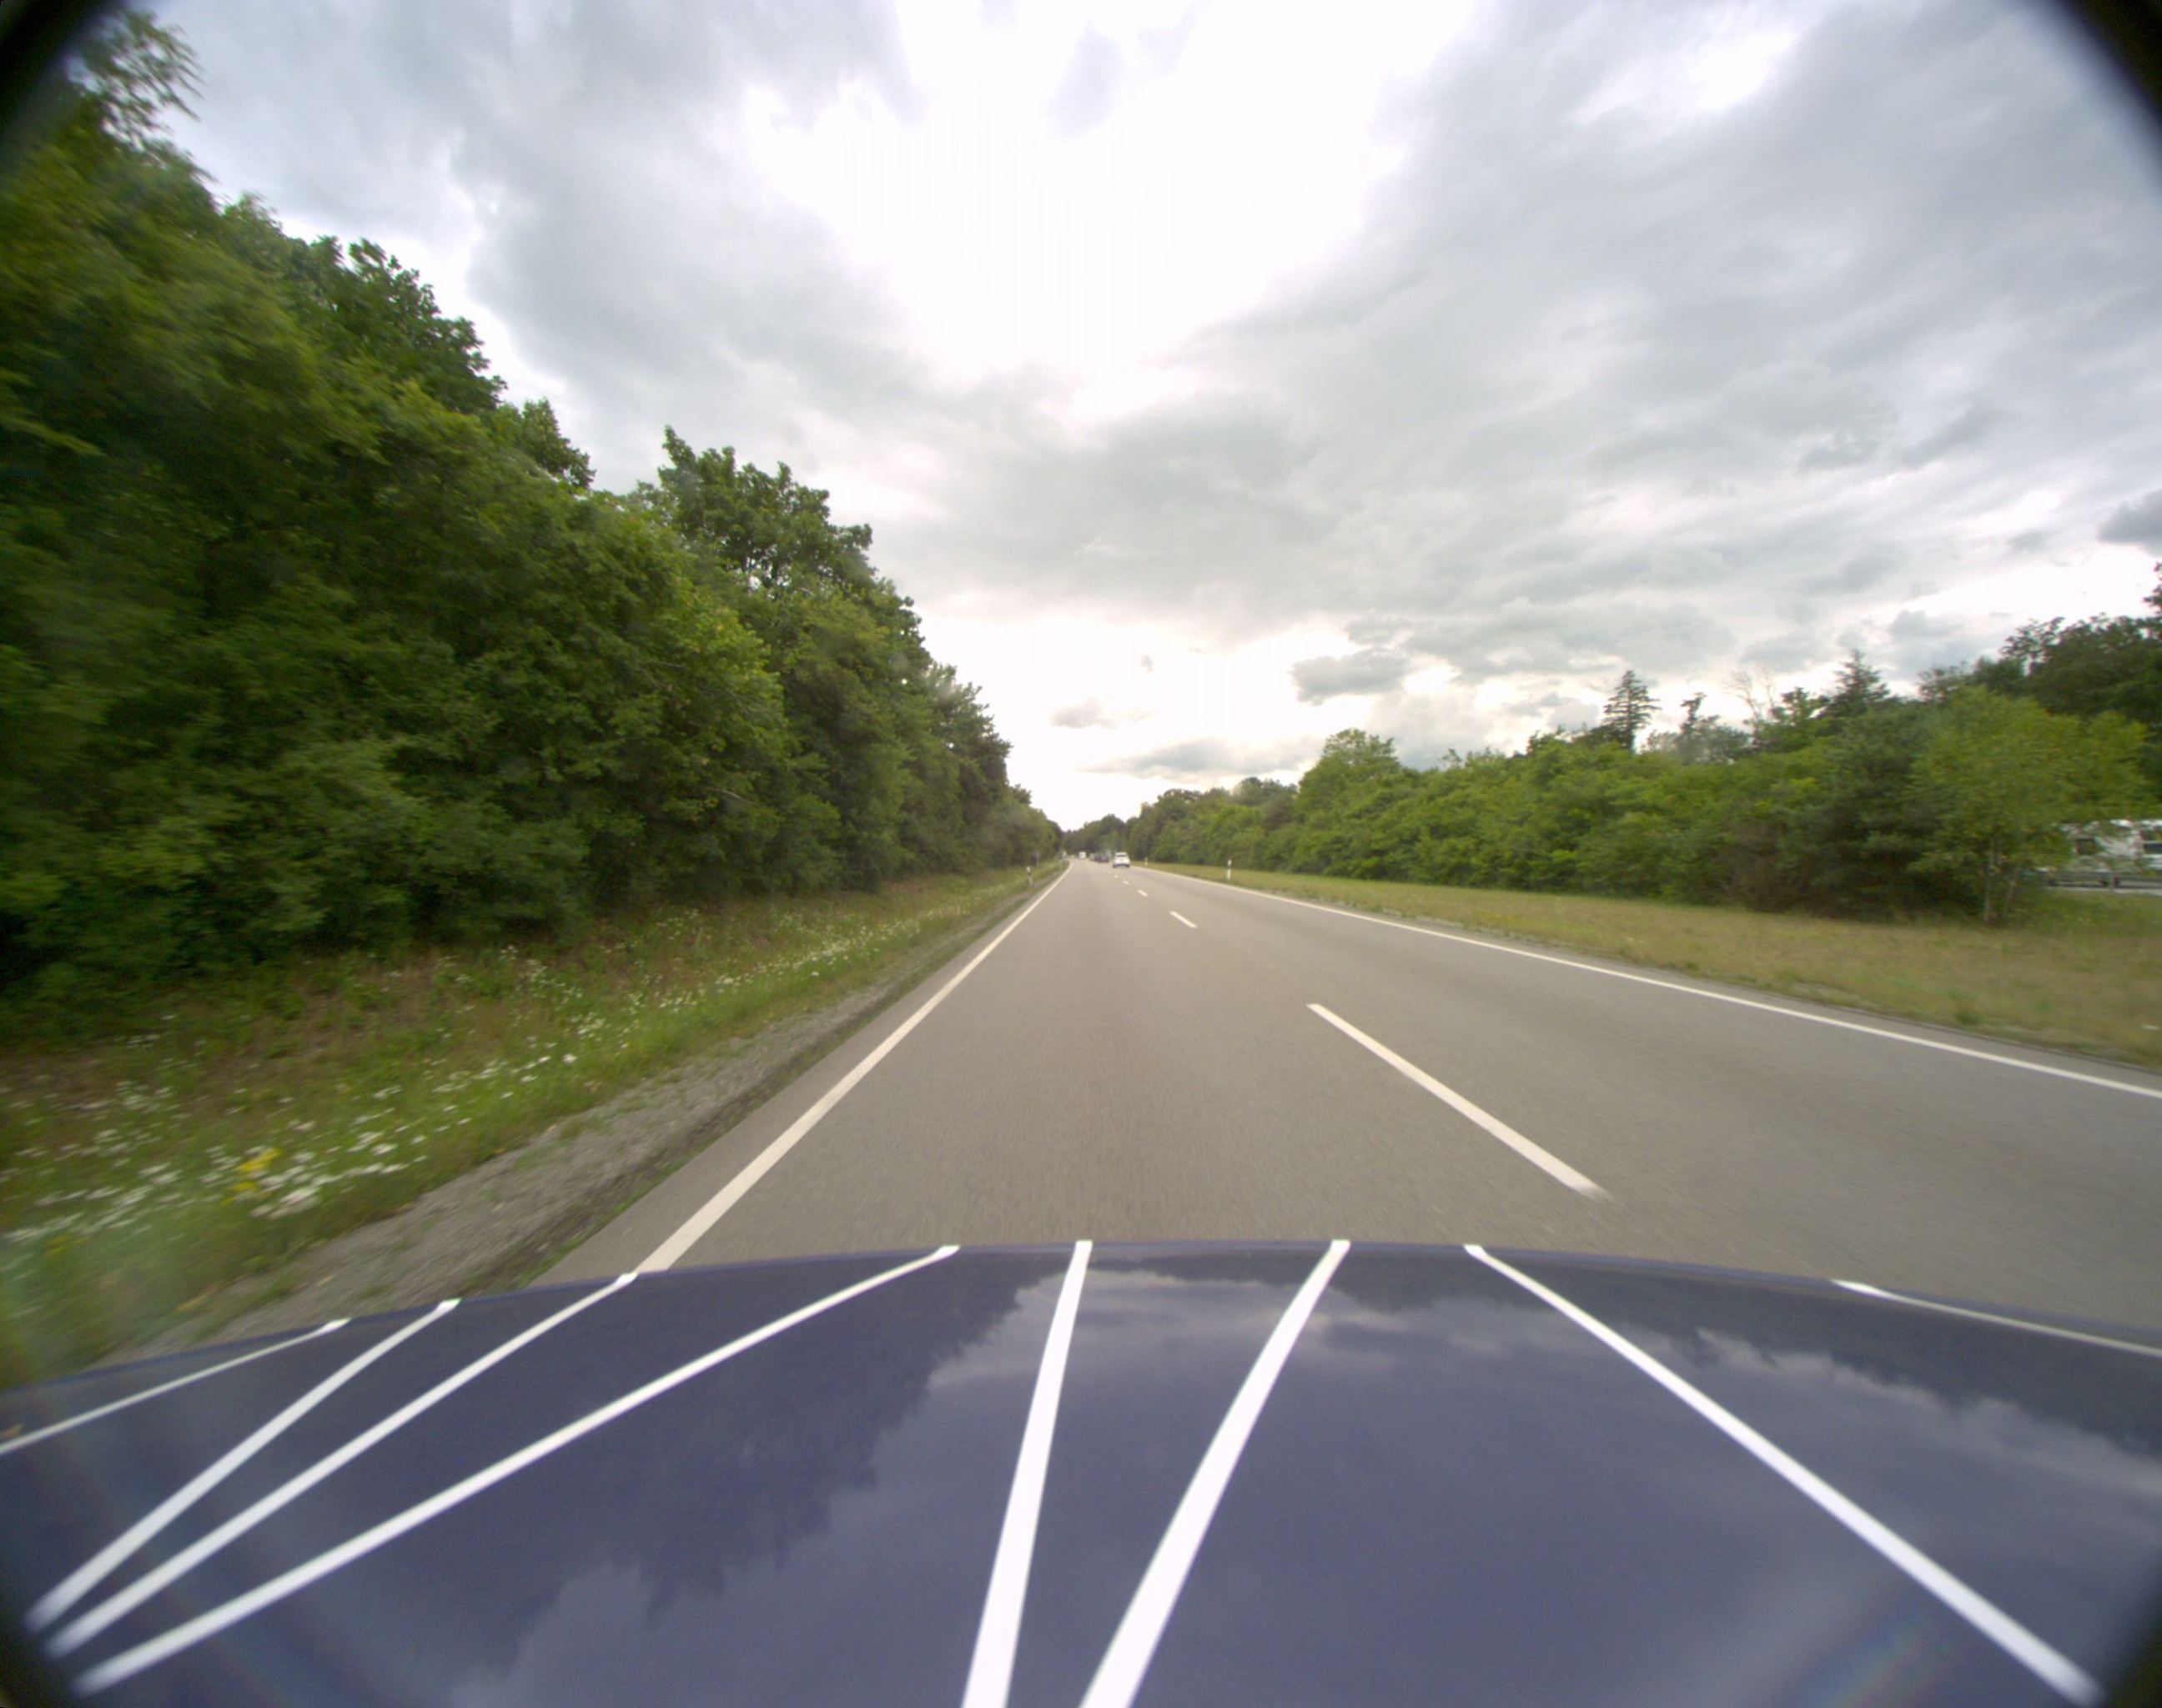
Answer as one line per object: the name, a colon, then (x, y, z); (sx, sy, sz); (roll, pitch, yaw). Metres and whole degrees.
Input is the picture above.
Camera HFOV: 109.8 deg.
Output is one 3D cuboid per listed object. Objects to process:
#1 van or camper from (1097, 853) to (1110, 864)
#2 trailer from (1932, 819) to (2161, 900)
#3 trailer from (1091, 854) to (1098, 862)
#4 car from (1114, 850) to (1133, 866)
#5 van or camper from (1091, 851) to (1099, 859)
van or camper: (4.174, 0.827, 139.835); (1.999, 1.772, 4.420); (-2, 0, -4)
trailer: (40.746, 0.147, 31.779); (2.485, 2.947, 7.396); (-2, 0, 5)
trailer: (3.543, 1.099, 197.418); (1.627, 1.881, 3.783); (-2, 0, 0)
car: (4.916, 0.402, 88.422); (1.918, 1.770, 4.612); (-2, 0, -1)
van or camper: (3.807, 0.207, 202.062); (1.926, 1.881, 5.361); (-2, 0, 0)
